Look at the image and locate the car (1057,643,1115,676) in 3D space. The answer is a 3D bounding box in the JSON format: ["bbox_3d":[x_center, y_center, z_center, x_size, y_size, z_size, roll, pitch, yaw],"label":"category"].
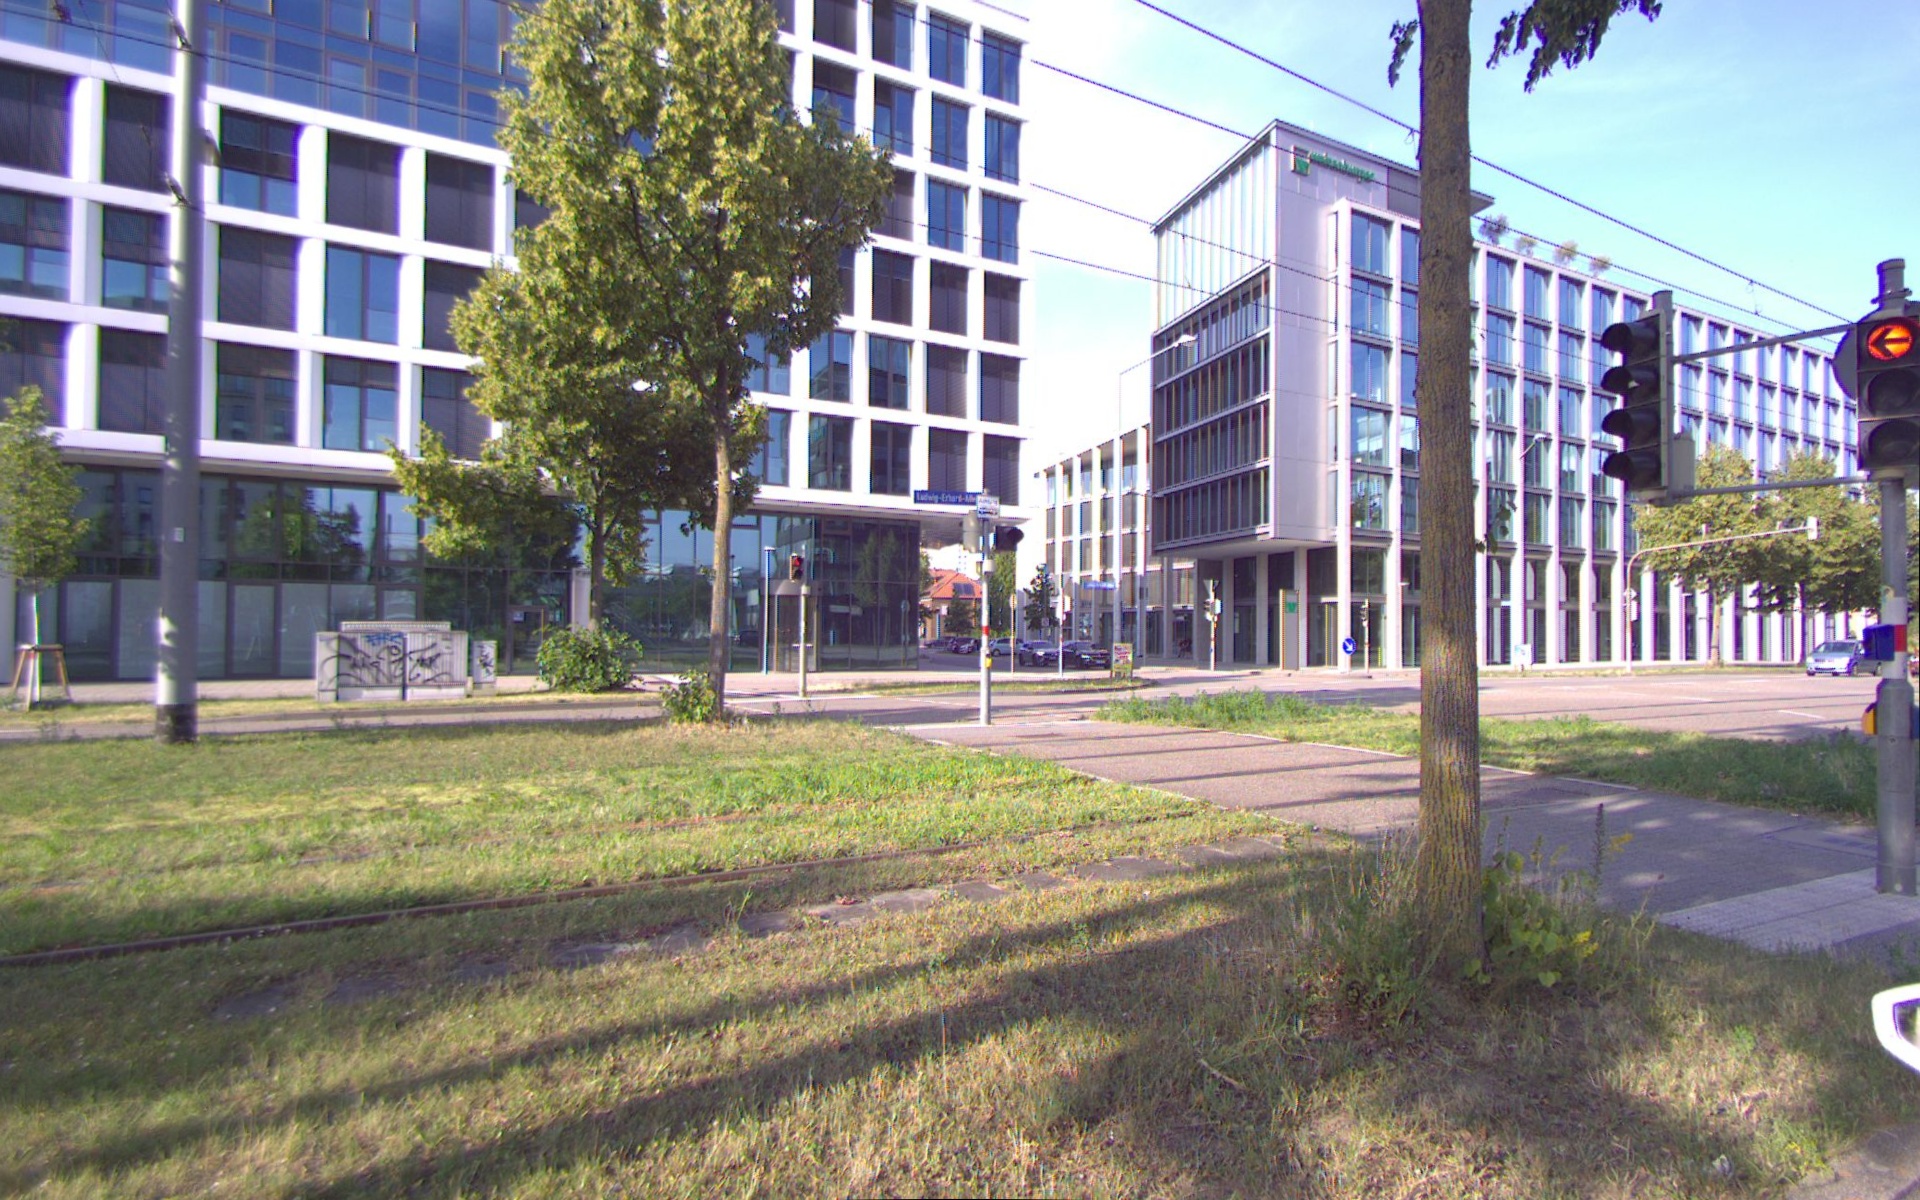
[{"bbox_3d":[6.407,3.029,51.279,1.551,1.443,3.498,2,0,-18],"label":"car"}]

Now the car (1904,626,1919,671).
[{"bbox_3d":[40.380,2.011,41.106,3.841,1.799,1.674,2,0,-33],"label":"car"}]

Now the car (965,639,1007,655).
[{"bbox_3d":[2.443,4.380,93.530,3.614,1.416,1.550,2,0,-14],"label":"car"}]

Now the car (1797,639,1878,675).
[{"bbox_3d":[38.441,2.484,43.973,3.914,1.462,1.629,2,0,-33],"label":"car"}]

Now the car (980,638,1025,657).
[{"bbox_3d":[3.655,4.094,86.591,3.535,1.417,1.524,2,0,-14],"label":"car"}]

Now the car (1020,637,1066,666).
[{"bbox_3d":[4.748,2.965,58.184,1.549,1.443,3.668,2,0,-14],"label":"car"}]

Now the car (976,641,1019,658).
[{"bbox_3d":[3.332,4.414,89.706,3.535,1.313,1.524,2,0,-14],"label":"car"}]

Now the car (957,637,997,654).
[{"bbox_3d":[1.648,4.371,96.721,3.614,1.416,1.550,2,0,-14],"label":"car"}]
